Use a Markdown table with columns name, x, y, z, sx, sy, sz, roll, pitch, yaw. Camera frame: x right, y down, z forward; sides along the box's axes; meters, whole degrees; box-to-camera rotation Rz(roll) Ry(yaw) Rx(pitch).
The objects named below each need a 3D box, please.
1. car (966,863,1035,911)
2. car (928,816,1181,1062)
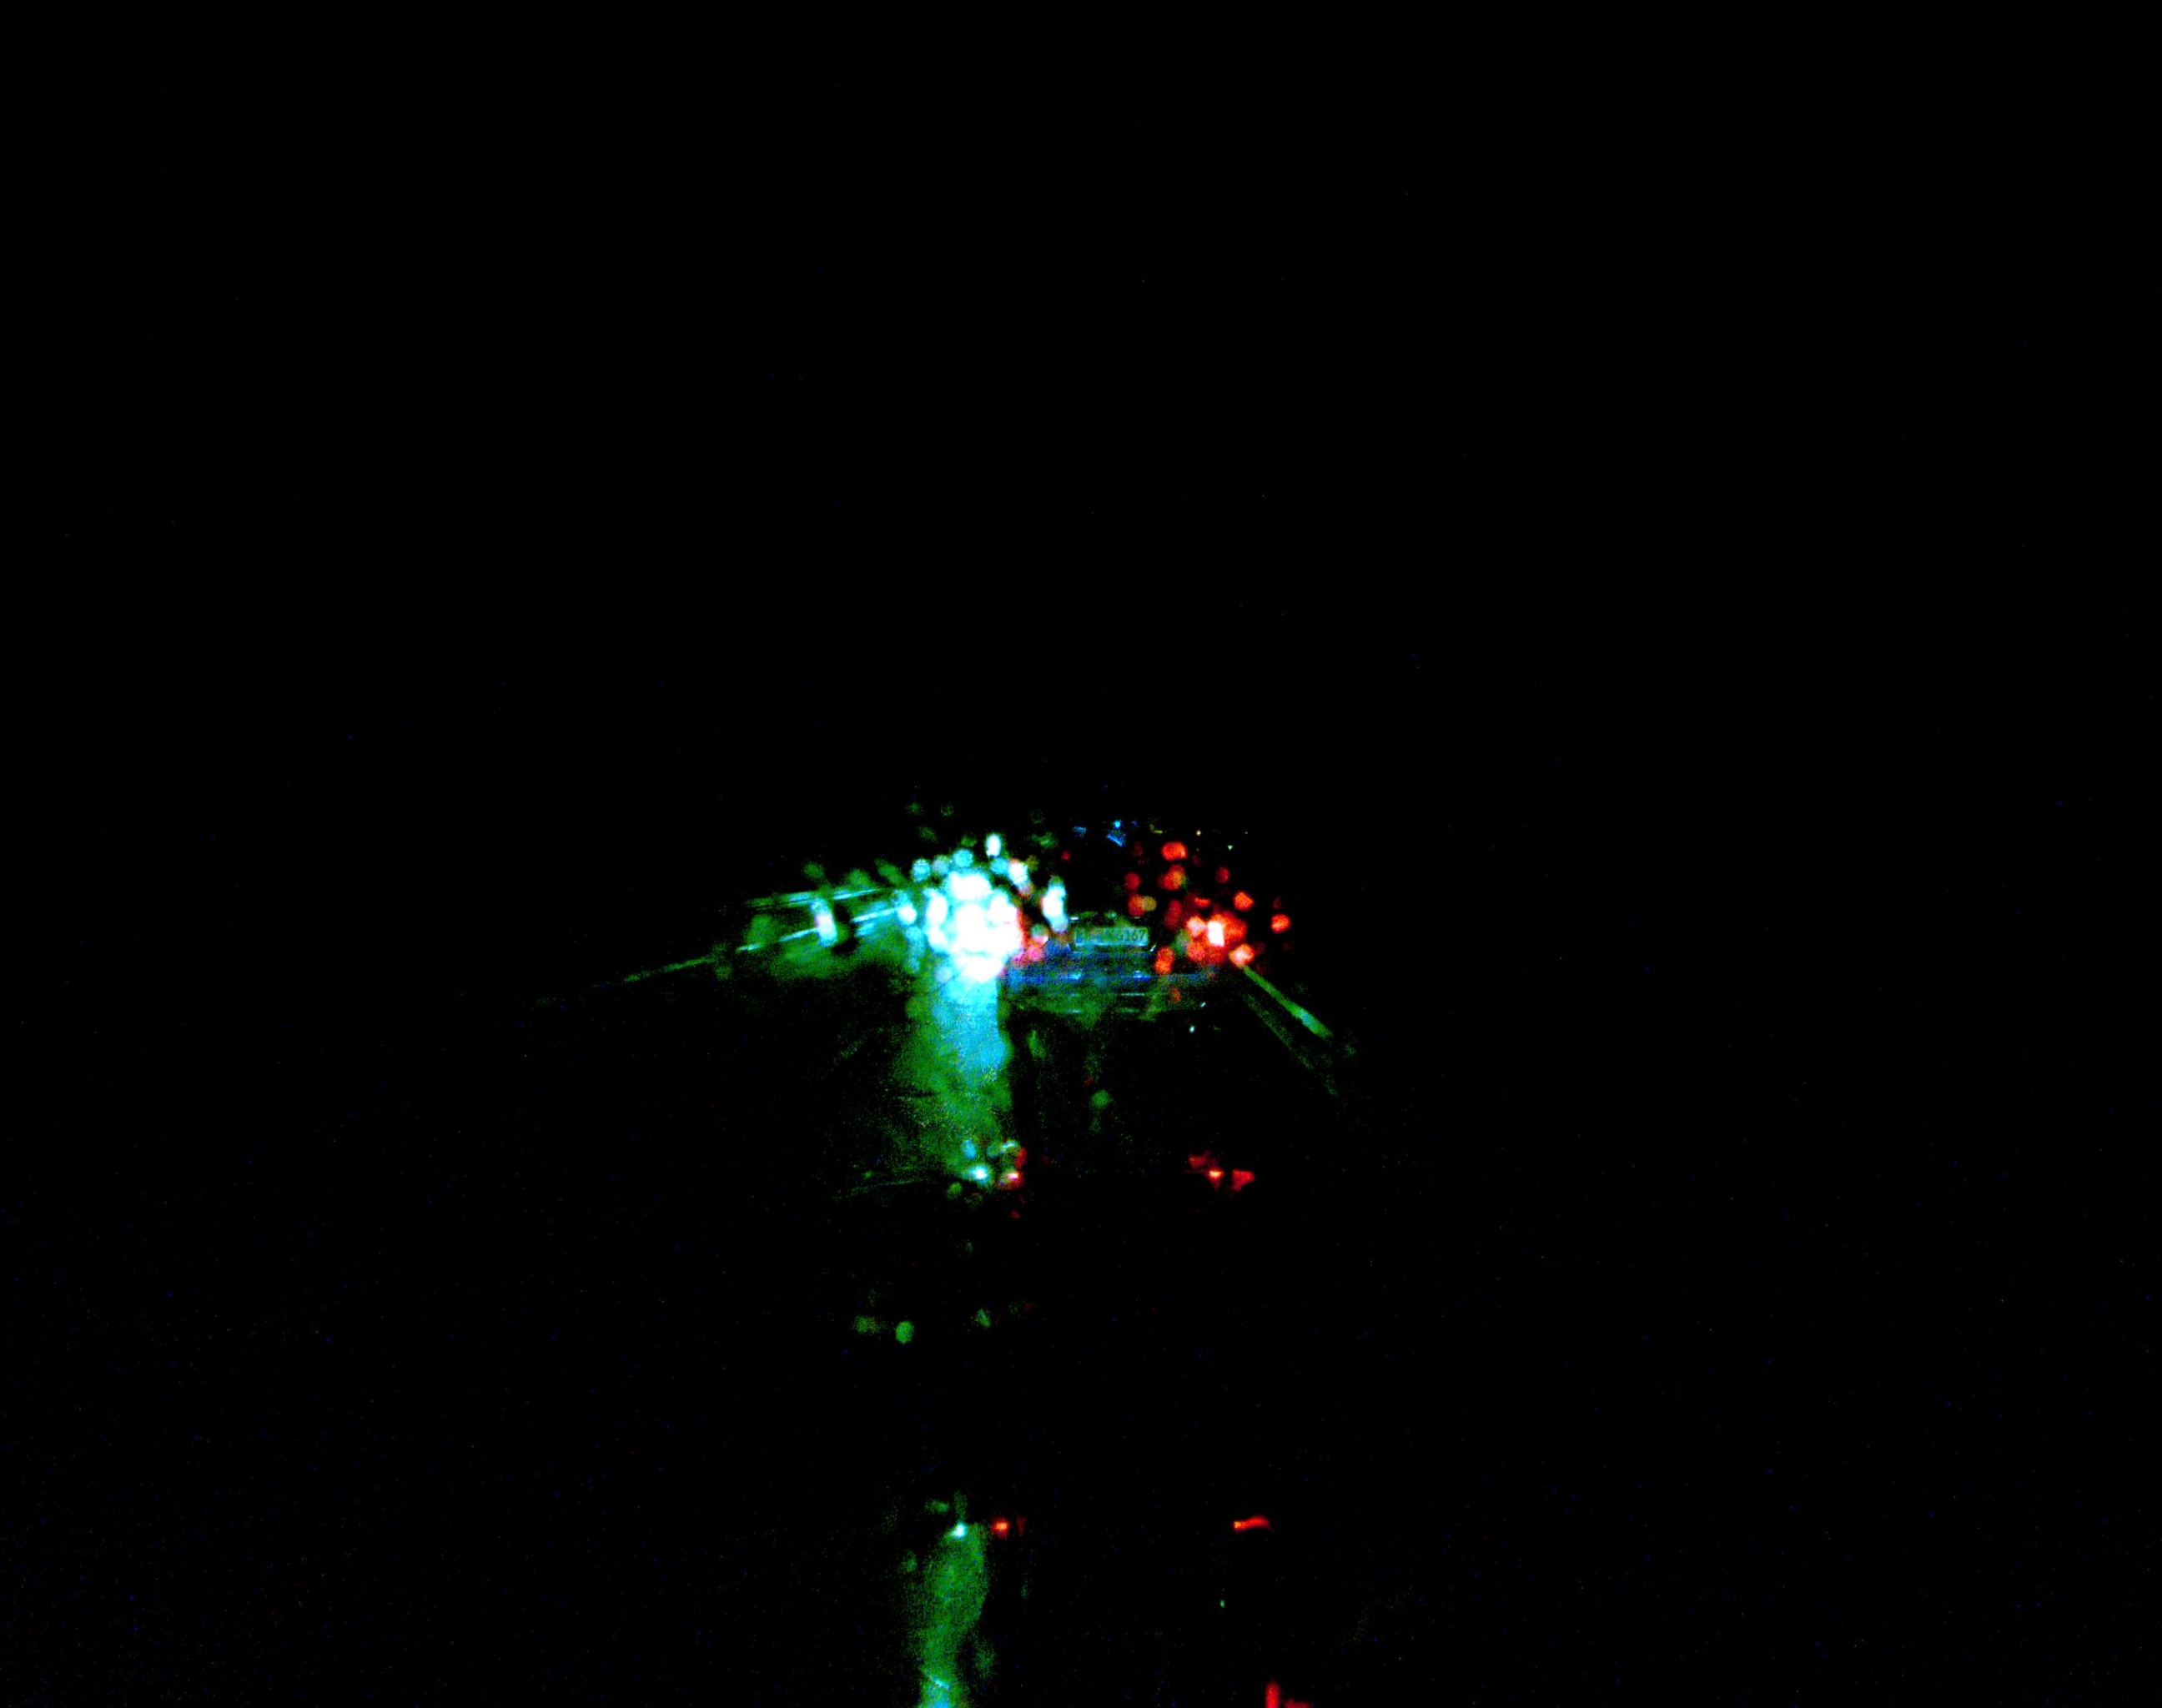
| name | x | y | z | sx | sy | sz | roll | pitch | yaw |
| --- | --- | --- | --- | --- | --- | --- | --- | --- | --- |
| car | -2.749 | 1.107 | 28.643 | 1.897 | 1.470 | 4.275 | 1 | 0 | 1 |
| car | -0.111 | 0.618 | 7.740 | 1.768 | 1.712 | 4.002 | -1 | -1 | 2 |
